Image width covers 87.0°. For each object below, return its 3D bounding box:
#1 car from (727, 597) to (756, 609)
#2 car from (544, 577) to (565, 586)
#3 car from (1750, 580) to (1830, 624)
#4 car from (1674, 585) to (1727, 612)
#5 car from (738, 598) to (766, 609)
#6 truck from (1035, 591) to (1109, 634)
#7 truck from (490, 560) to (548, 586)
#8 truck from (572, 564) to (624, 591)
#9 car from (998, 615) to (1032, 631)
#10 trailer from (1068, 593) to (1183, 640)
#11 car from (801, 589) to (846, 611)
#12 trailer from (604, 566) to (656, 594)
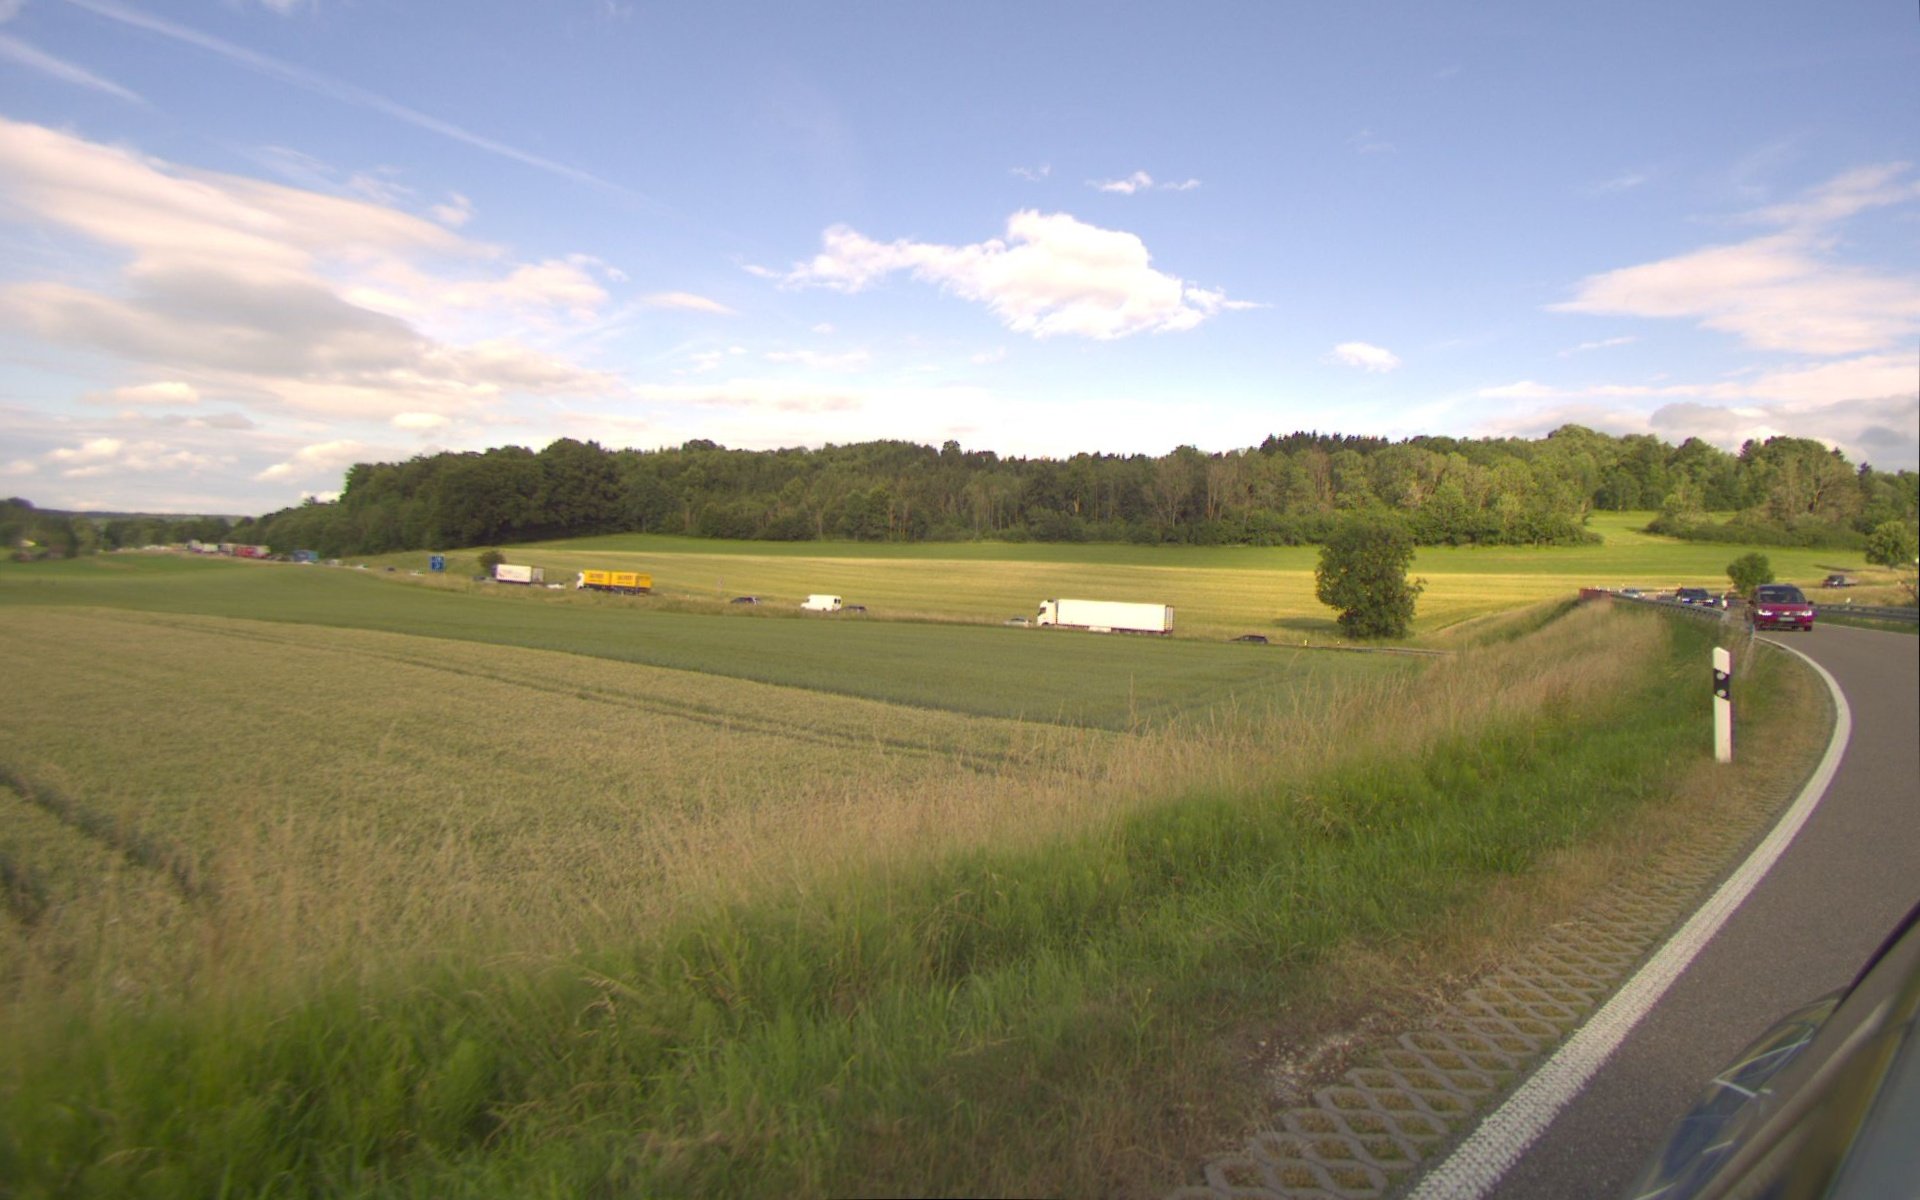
[{"bbox_3d":[-30.854,0.386,142.726,3.970,1.538,1.663,2,2,33],"label":"car"},{"bbox_3d":[-69.109,-3.184,172.478,3.303,1.412,1.590,2,2,32],"label":"car"},{"bbox_3d":[32.885,0.068,40.197,1.807,1.676,3.957,0,0,30],"label":"car"},{"bbox_3d":[47.089,-0.117,64.428,1.802,1.631,3.968,3,2,23],"label":"car"},{"bbox_3d":[-30.933,0.563,150.487,3.972,1.487,1.782,3,0,34],"label":"car"},{"bbox_3d":[13.199,1.468,119.804,7.997,4.524,2.994,4,0,32],"label":"truck"},{"bbox_3d":[-84.558,-5.236,193.762,14.358,4.042,4.025,5,7,39],"label":"truck"},{"bbox_3d":[-62.568,-3.915,174.897,9.751,4.108,3.787,4,5,38],"label":"truck"},{"bbox_3d":[6.318,2.607,115.924,3.440,1.662,1.744,0,4,32],"label":"car"},{"bbox_3d":[18.881,1.841,116.200,12.634,4.524,2.997,4,0,32],"label":"trailer"},{"bbox_3d":[-19.162,0.008,141.694,6.081,2.617,2.345,4,-1,33],"label":"car"},{"bbox_3d":[-55.222,-3.418,169.184,9.080,4.108,3.788,4,5,37],"label":"trailer"}]
